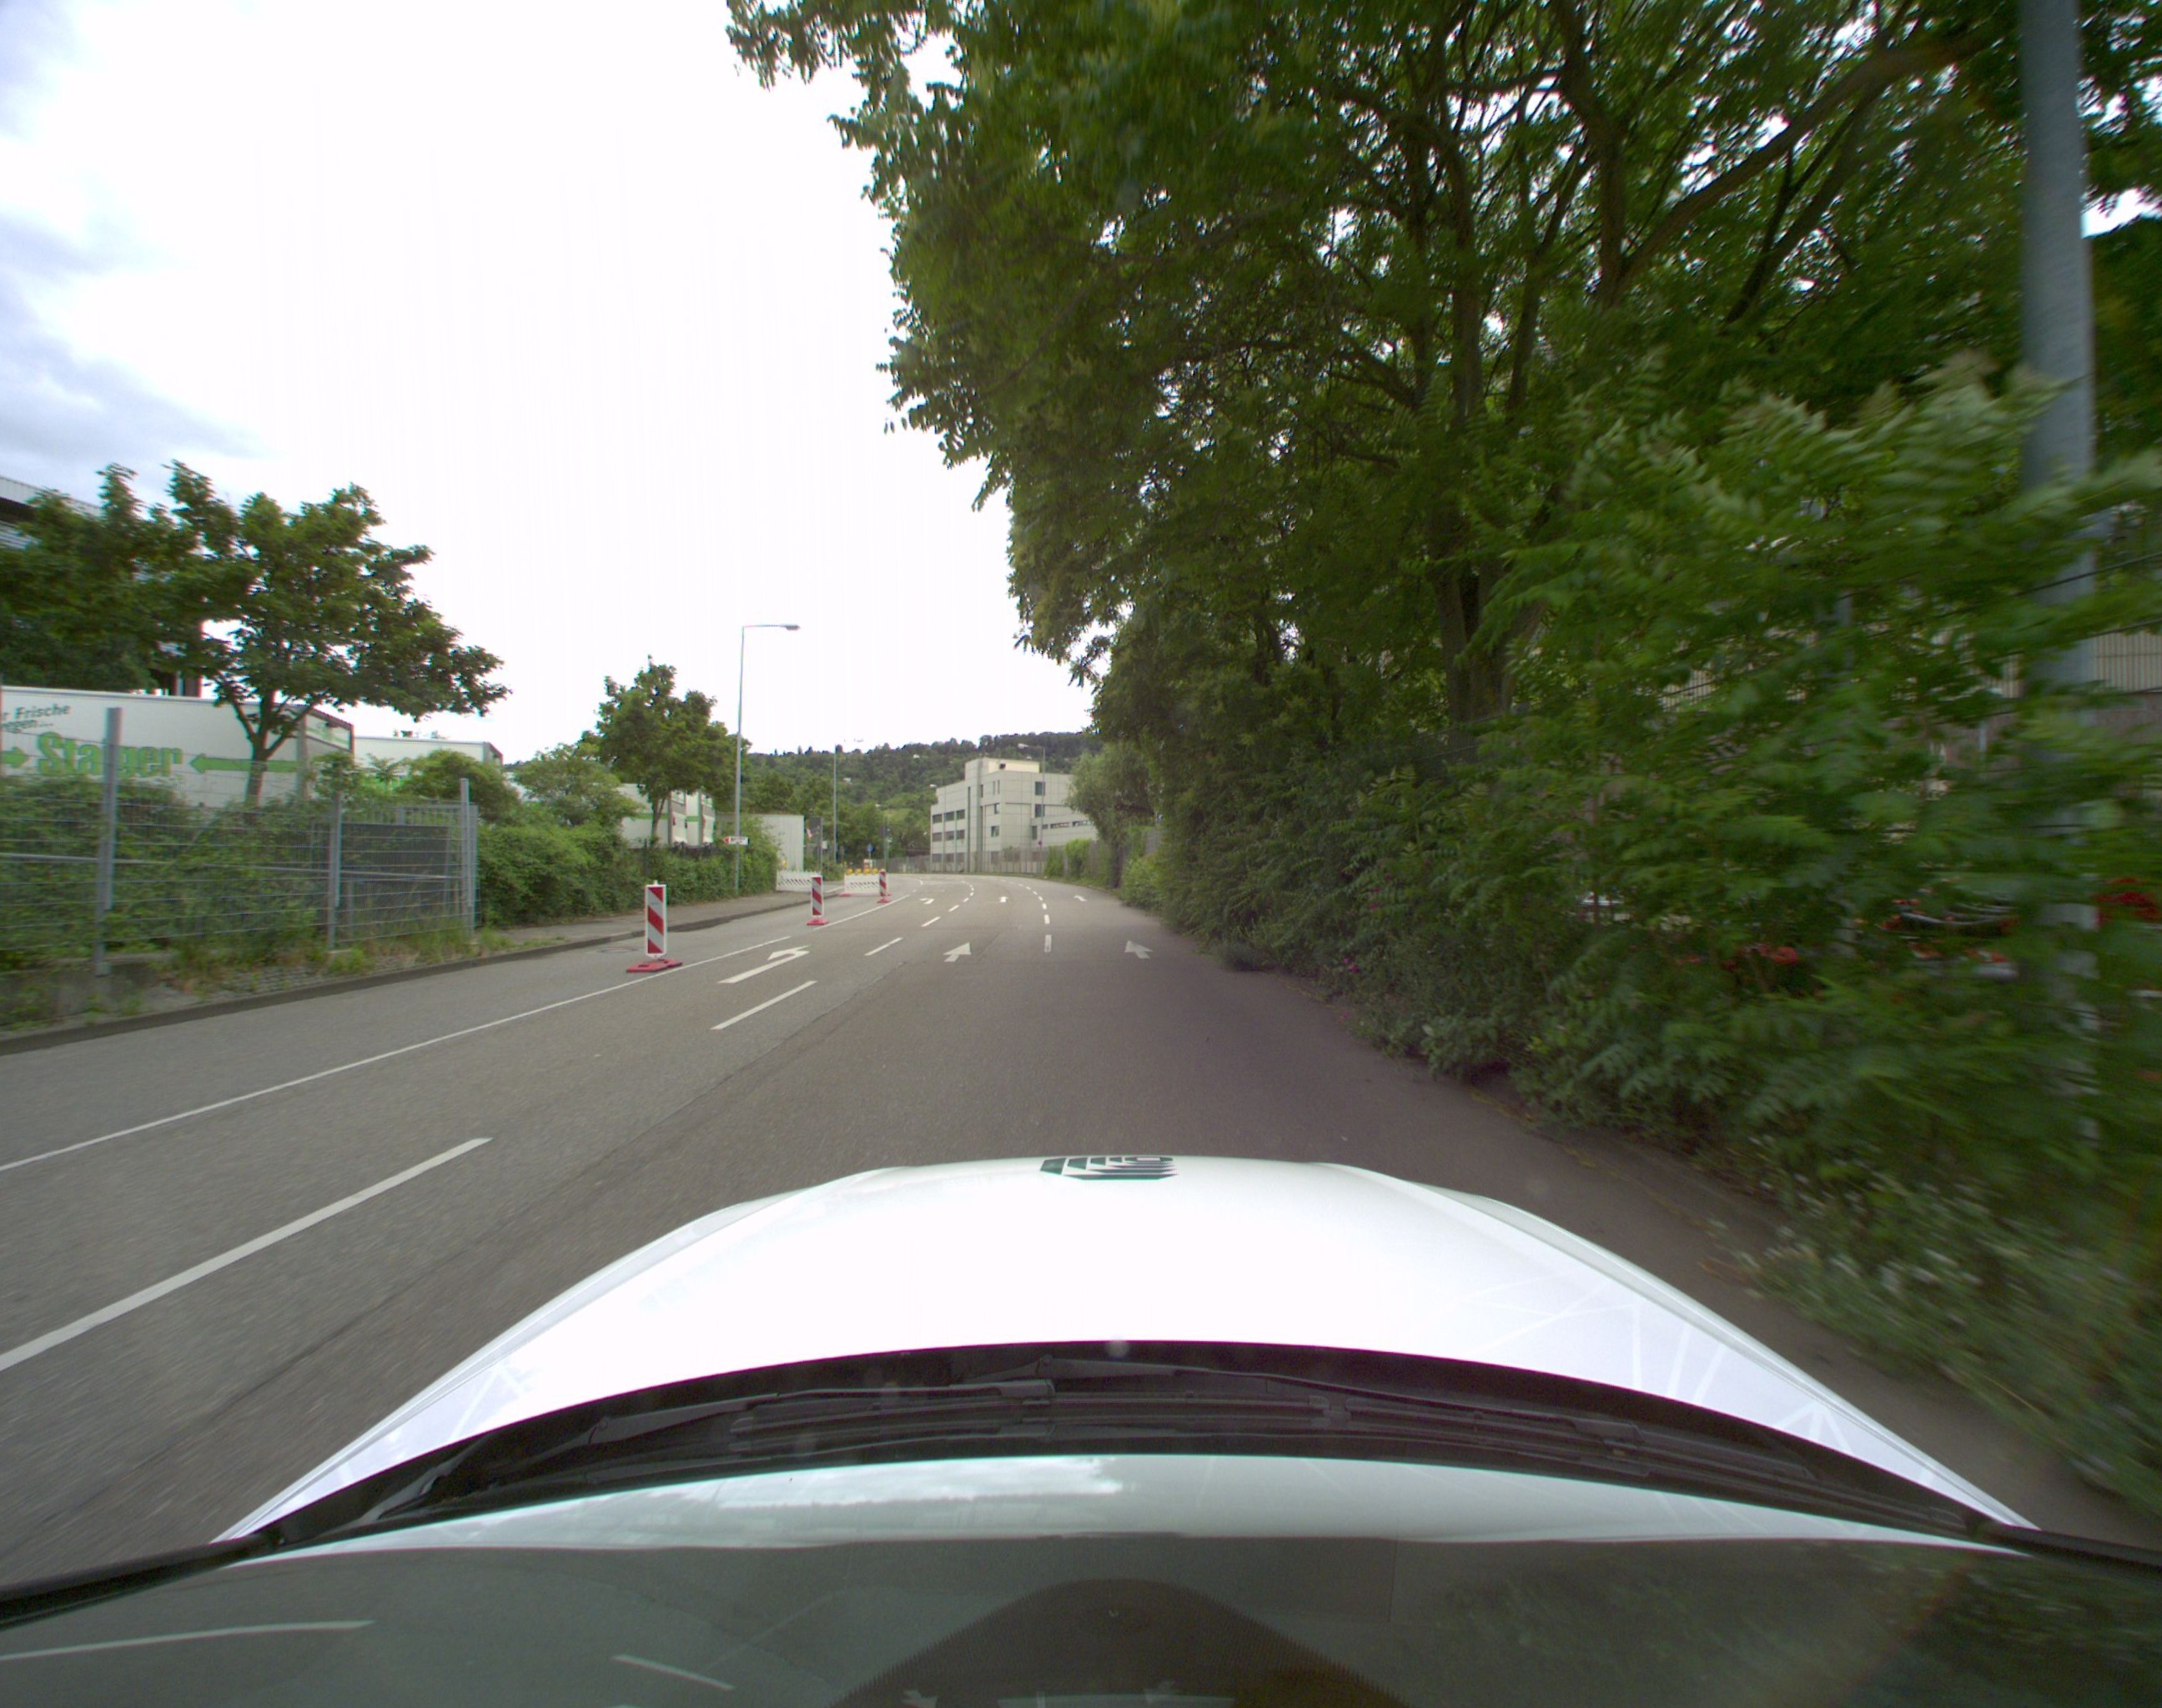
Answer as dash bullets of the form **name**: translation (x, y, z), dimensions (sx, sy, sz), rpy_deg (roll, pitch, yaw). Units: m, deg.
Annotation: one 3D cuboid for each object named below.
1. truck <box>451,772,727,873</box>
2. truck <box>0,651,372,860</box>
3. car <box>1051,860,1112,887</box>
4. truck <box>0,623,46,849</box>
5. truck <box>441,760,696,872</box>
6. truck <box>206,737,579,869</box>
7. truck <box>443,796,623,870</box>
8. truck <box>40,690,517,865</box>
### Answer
- **truck**: translation (-20.921, -1.208, 35.390), dimensions (9.629, 3.992, 3.039), rpy_deg (1, -3, -13)
- **truck**: translation (-19.551, -1.779, 15.945), dimensions (7.879, 3.539, 3.026), rpy_deg (1, -3, -26)
- **car**: translation (-0.011, 1.820, 77.366), dimensions (6.093, 2.263, 2.011), rpy_deg (1, -1, 44)
- **truck**: translation (-20.378, -2.004, 10.537), dimensions (7.890, 3.539, 3.022), rpy_deg (2, -3, -30)
- **truck**: translation (-19.928, -1.334, 32.295), dimensions (7.852, 3.992, 3.037), rpy_deg (1, -3, -15)
- **truck**: translation (-19.761, -1.253, 24.268), dimensions (7.886, 3.250, 3.024), rpy_deg (1, -3, -29)
- **truck**: translation (-19.199, -0.685, 28.756), dimensions (4.684, 2.406, 2.189), rpy_deg (0, -3, -8)
- **truck**: translation (-19.294, -1.590, 20.564), dimensions (7.886, 3.539, 3.024), rpy_deg (1, -3, -29)
